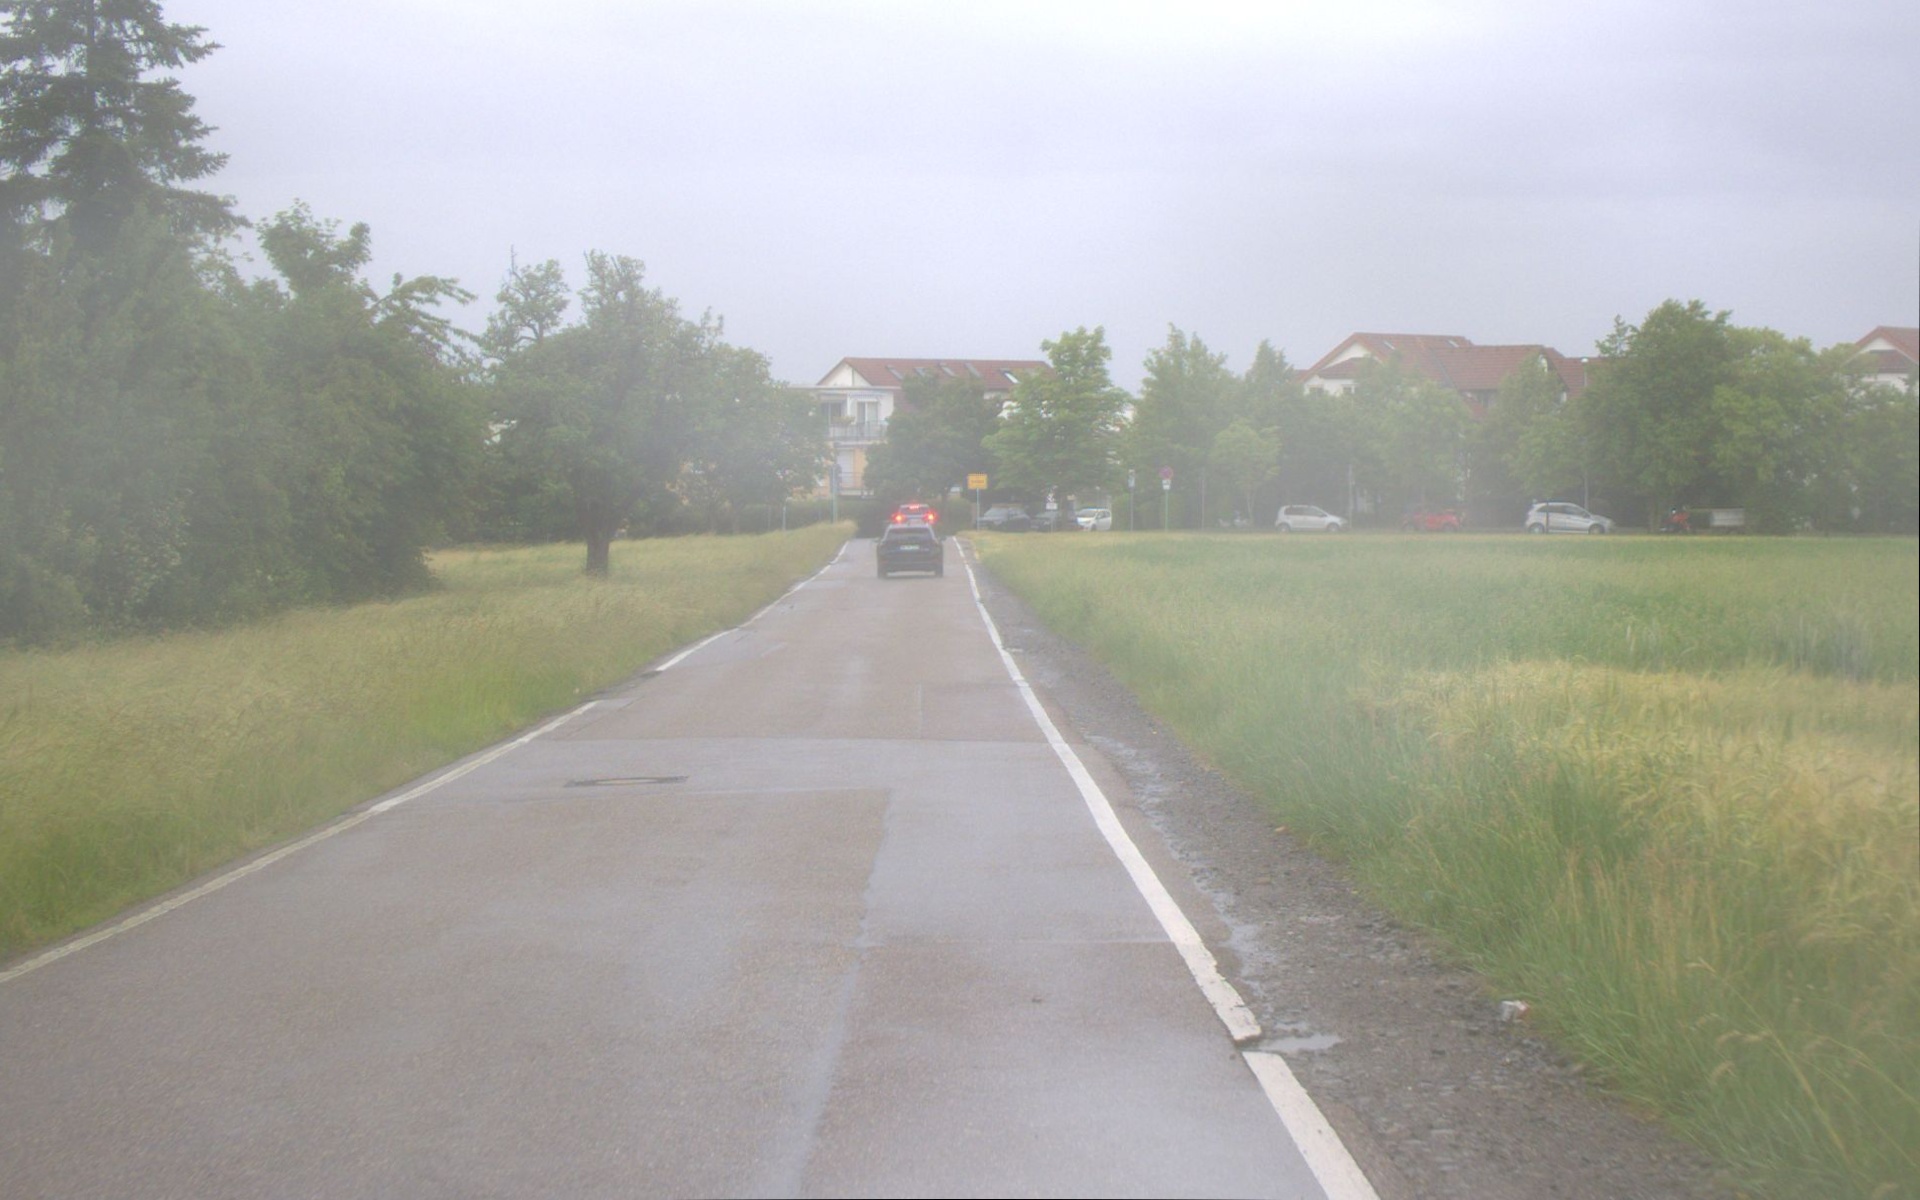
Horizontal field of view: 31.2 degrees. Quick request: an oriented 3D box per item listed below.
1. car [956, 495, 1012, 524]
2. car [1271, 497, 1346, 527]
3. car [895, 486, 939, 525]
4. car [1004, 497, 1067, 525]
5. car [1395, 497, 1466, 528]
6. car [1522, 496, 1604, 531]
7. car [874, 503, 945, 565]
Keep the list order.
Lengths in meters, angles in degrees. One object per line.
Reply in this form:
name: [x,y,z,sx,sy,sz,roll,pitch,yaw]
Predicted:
car: [1.379,-5.095,193.291,1.663,1.541,3.995,0,0,24]
car: [16.686,-4.217,164.383,3.392,1.366,1.547,0,0,13]
car: [-1.869,-4.150,151.306,1.814,1.588,4.000,0,0,1]
car: [4.372,-5.117,198.550,1.664,1.541,3.992,0,0,35]
car: [22.311,-4.143,163.141,3.194,1.366,1.571,0,0,13]
car: [28.359,-4.076,161.553,3.711,1.558,1.609,0,0,13]
car: [-1.337,-1.753,92.643,1.814,1.588,4.000,0,0,1]
